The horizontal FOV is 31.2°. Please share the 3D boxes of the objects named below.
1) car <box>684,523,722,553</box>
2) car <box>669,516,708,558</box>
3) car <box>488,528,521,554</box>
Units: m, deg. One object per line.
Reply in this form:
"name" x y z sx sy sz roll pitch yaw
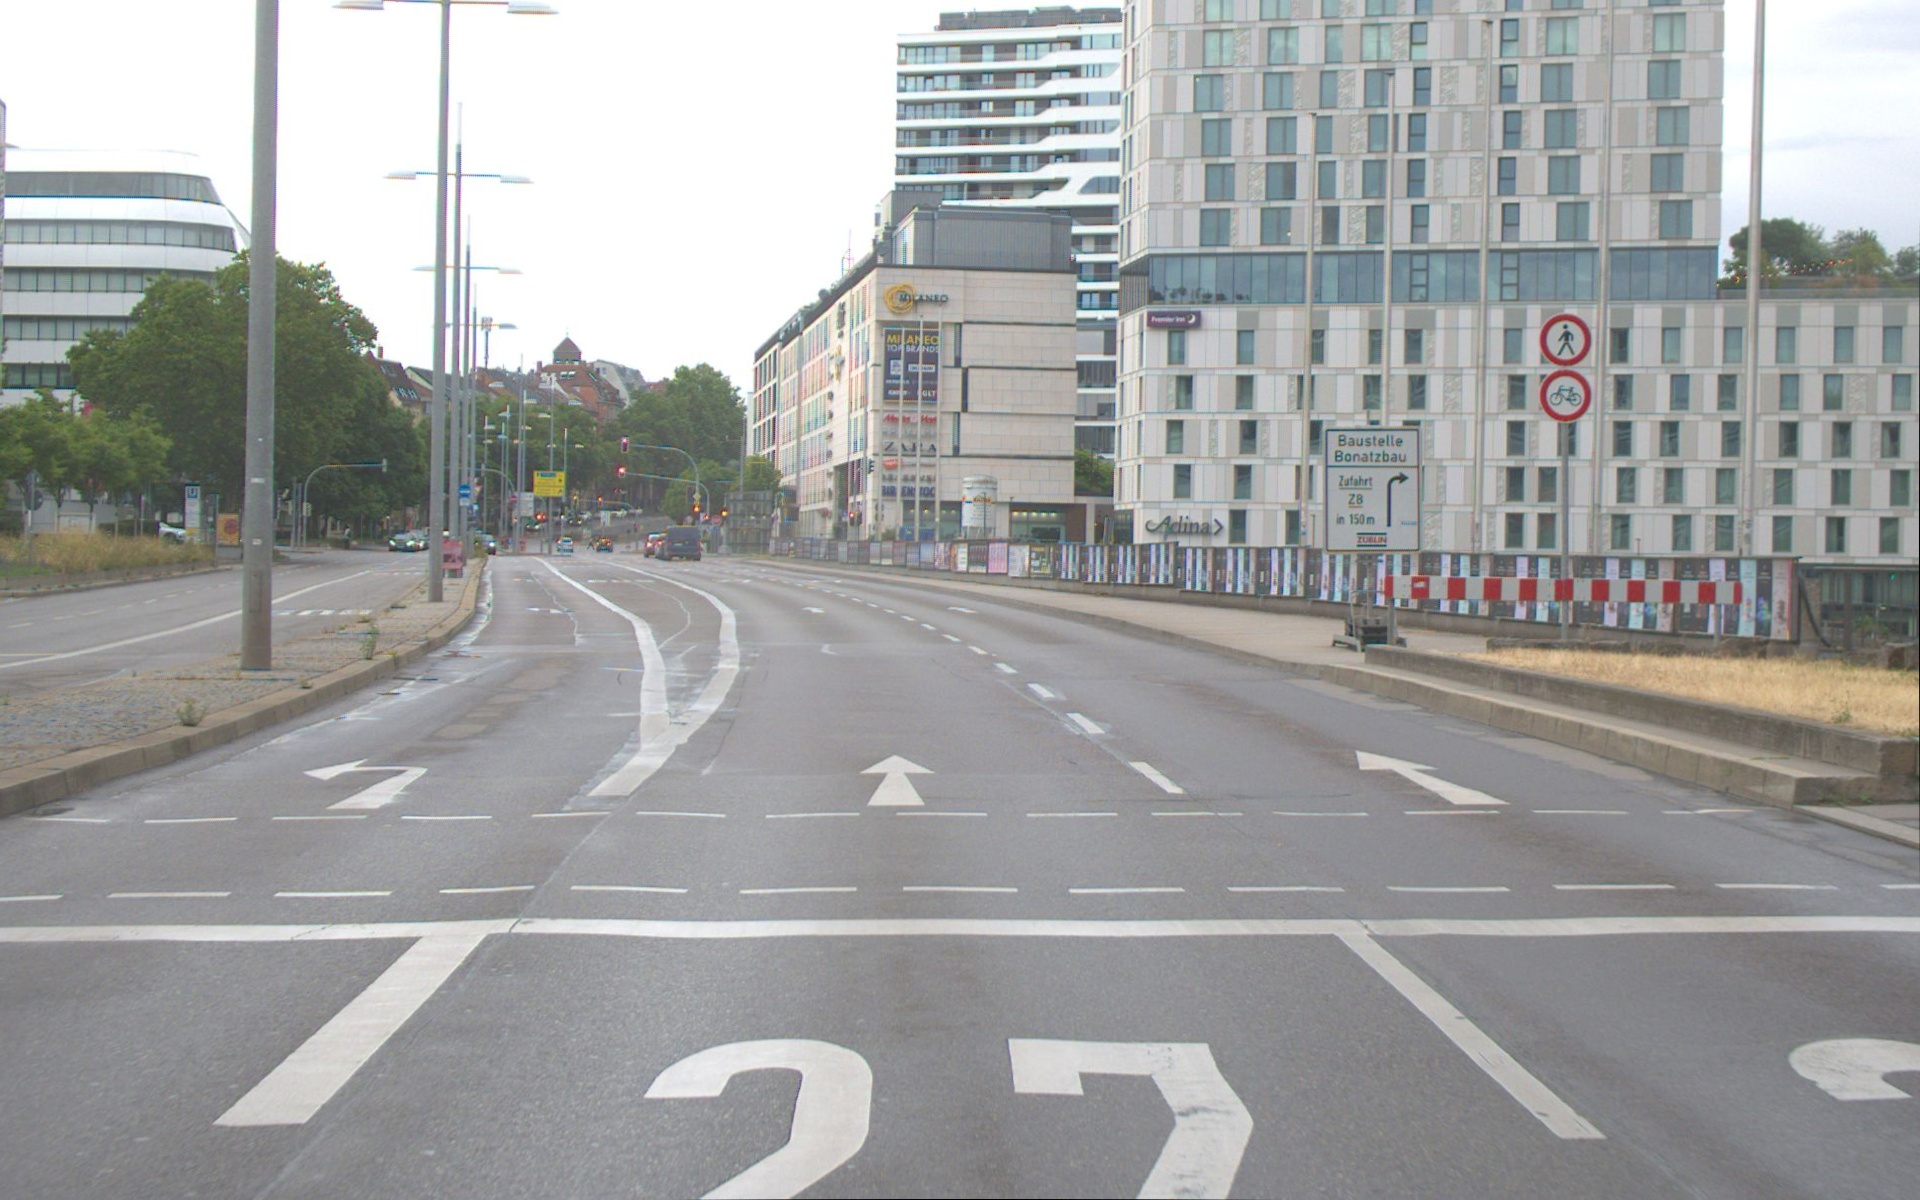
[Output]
"car" -16.553 -4.028 221.606 1.993 1.809 4.000 0 3 2
"car" -15.202 -3.535 192.646 1.993 2.335 4.001 1 1 -2
"car" -32.933 -4.266 248.575 1.993 1.776 4.001 0 3 -2
